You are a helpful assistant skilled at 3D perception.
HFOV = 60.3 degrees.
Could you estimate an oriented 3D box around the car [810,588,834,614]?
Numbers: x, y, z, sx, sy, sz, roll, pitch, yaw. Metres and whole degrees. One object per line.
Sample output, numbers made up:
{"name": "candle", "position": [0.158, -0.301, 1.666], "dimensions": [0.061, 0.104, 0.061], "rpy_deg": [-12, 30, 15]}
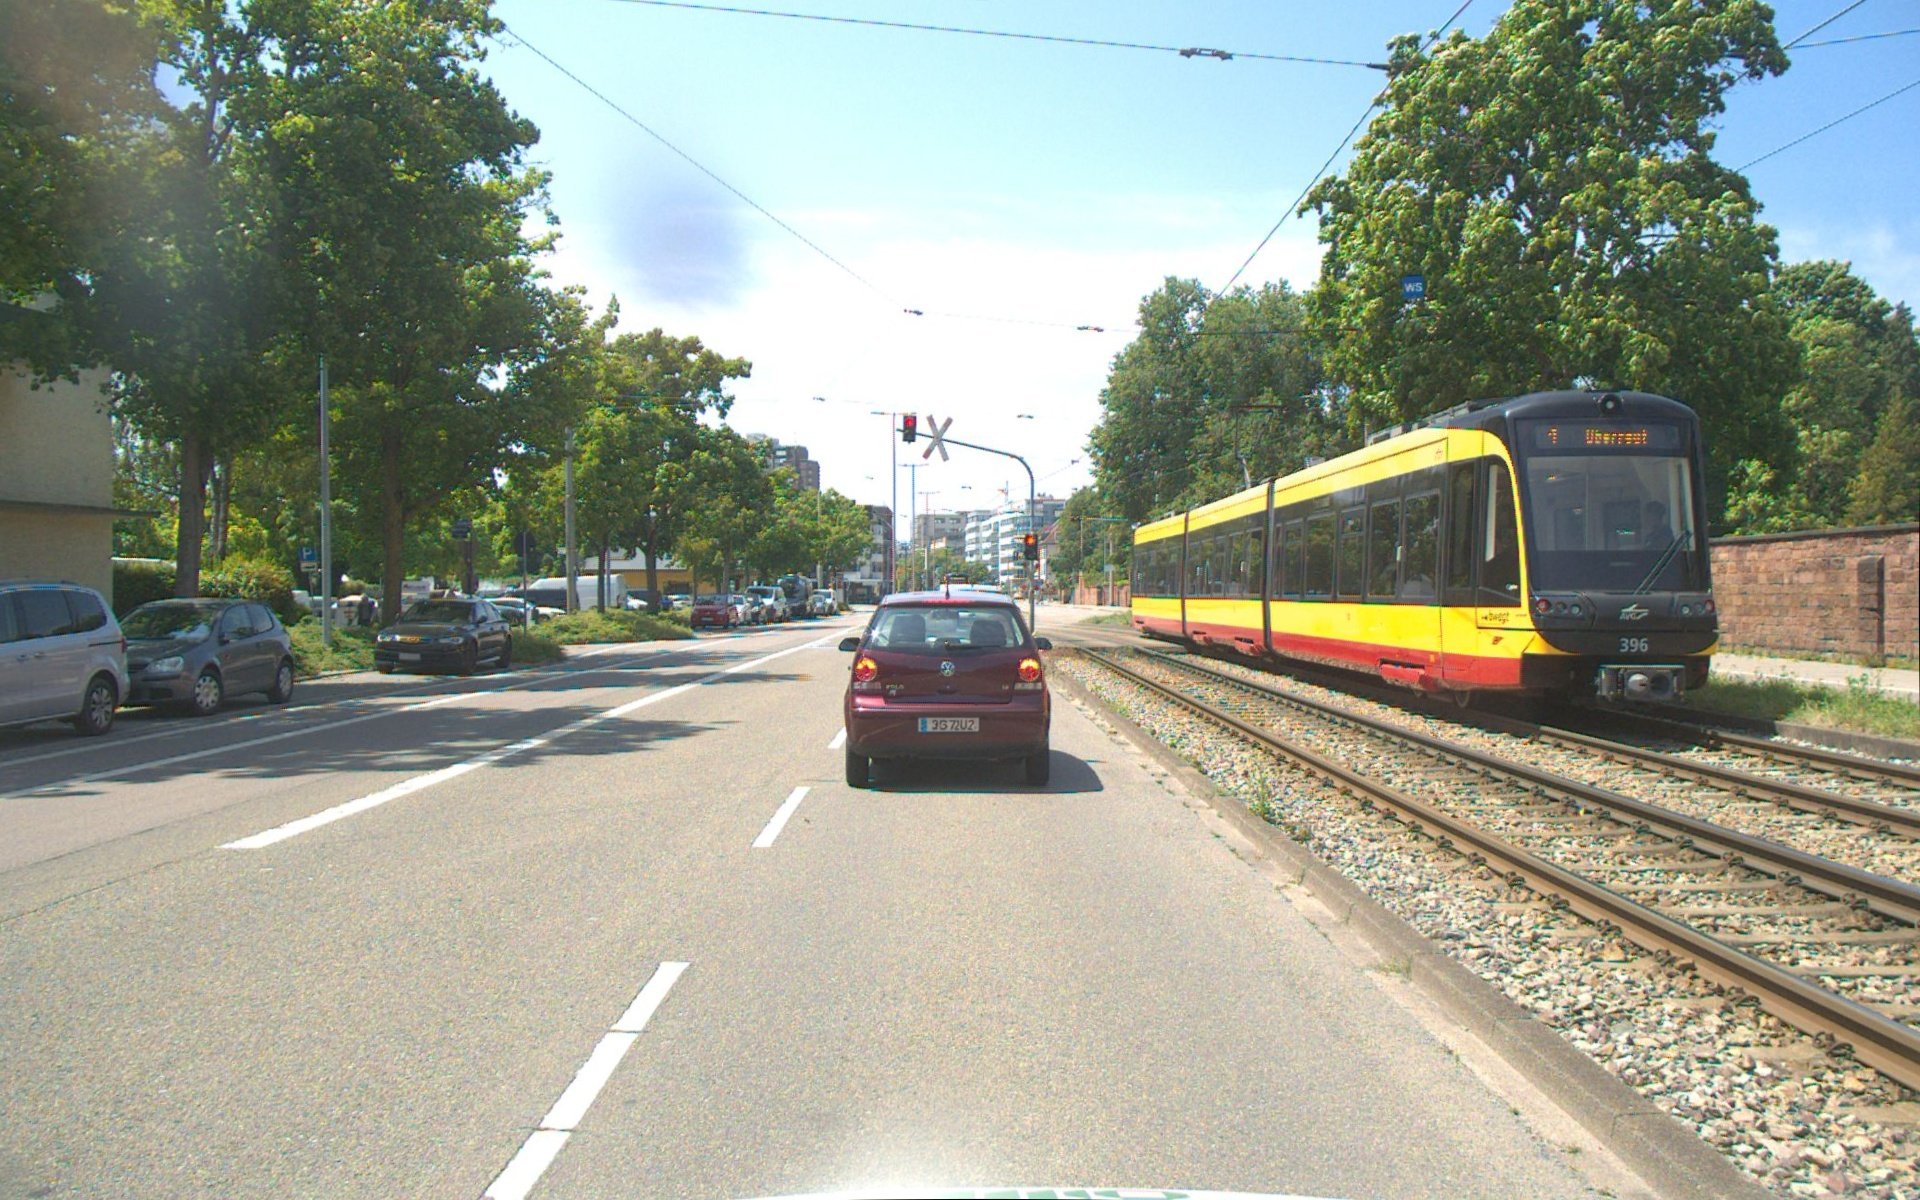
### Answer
{"name": "car", "position": [-10.434, 0.084, 124.832], "dimensions": [1.740, 1.860, 3.995], "rpy_deg": [2, -1, -6]}

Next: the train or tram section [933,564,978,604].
{"name": "train or tram section", "position": [-0.535, -1.547, 159.042], "dimensions": [2.689, 3.672, 12.849], "rpy_deg": [2, 0, -7]}

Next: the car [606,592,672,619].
{"name": "car", "position": [-21.100, 0.347, 108.937], "dimensions": [3.937, 1.645, 1.816], "rpy_deg": [2, -1, 0]}

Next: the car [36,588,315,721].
{"name": "car", "position": [-10.386, 0.655, 22.274], "dimensions": [1.781, 1.592, 4.180], "rpy_deg": [1, 0, -1]}

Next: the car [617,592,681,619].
{"name": "car", "position": [-21.071, 0.374, 112.018], "dimensions": [3.937, 1.645, 1.816], "rpy_deg": [2, -1, 0]}

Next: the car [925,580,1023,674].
{"name": "car", "position": [0.211, 0.481, 32.081], "dimensions": [1.741, 1.676, 3.999], "rpy_deg": [1, 0, -1]}

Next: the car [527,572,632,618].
{"name": "car", "position": [-20.284, -0.258, 88.348], "dimensions": [4.992, 2.284, 2.378], "rpy_deg": [2, -1, 0]}

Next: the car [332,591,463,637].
{"name": "car", "position": [-21.002, 0.508, 61.857], "dimensions": [4.256, 1.612, 1.912], "rpy_deg": [-1, 0, -3]}

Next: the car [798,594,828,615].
{"name": "car", "position": [-10.580, 0.349, 119.087], "dimensions": [1.581, 1.466, 4.001], "rpy_deg": [2, -1, 3]}

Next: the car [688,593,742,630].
{"name": "car", "position": [-10.576, 0.493, 71.717], "dimensions": [1.628, 1.523, 4.000], "rpy_deg": [2, -1, 1]}

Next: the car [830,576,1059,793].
{"name": "car", "position": [-0.155, 0.604, 14.023], "dimensions": [1.638, 1.548, 3.999], "rpy_deg": [1, 0, -1]}

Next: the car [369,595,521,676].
{"name": "car", "position": [-10.472, 0.680, 33.967], "dimensions": [1.781, 1.502, 4.448], "rpy_deg": [1, 0, -1]}

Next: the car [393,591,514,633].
{"name": "car", "position": [-20.495, 0.484, 66.959], "dimensions": [4.251, 1.612, 1.914], "rpy_deg": [-1, 0, 5]}

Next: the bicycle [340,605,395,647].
{"name": "bicycle", "position": [-15.563, 0.683, 43.483], "dimensions": [0.686, 1.047, 1.829], "rpy_deg": [1, -1, 3]}

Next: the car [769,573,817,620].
{"name": "car", "position": [-10.235, -0.187, 101.554], "dimensions": [2.313, 2.739, 5.307], "rpy_deg": [2, -1, 0]}

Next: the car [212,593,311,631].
{"name": "car", "position": [-32.862, 0.568, 77.926], "dimensions": [3.913, 1.682, 1.812], "rpy_deg": [2, -1, -9]}

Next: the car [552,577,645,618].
{"name": "car", "position": [-21.730, -0.156, 99.594], "dimensions": [4.992, 2.284, 2.378], "rpy_deg": [2, -1, 0]}

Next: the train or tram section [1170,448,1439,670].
{"name": "train or tram section", "position": [6.876, -0.768, 35.551], "dimensions": [2.966, 3.864, 13.089], "rpy_deg": [0, 0, 0]}

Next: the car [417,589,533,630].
{"name": "car", "position": [-20.411, 0.387, 69.674], "dimensions": [4.251, 1.612, 1.914], "rpy_deg": [-1, 0, 6]}

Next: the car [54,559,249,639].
{"name": "car", "position": [-33.154, -0.021, 67.963], "dimensions": [6.713, 3.017, 2.363], "rpy_deg": [2, -1, -2]}

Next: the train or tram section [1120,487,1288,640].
{"name": "train or tram section", "position": [6.834, -0.969, 48.532], "dimensions": [2.966, 3.864, 12.759], "rpy_deg": [0, 0, 0]}

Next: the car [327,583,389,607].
{"name": "car", "position": [-44.826, -0.395, 123.238], "dimensions": [3.937, 1.645, 1.816], "rpy_deg": [2, -1, 0]}

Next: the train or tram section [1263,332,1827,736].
{"name": "train or tram section", "position": [6.827, -0.684, 22.452], "dimensions": [2.966, 3.864, 13.089], "rpy_deg": [0, 0, 0]}

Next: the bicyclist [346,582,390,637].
{"name": "bicyclist", "position": [-15.535, 0.250, 43.430], "dimensions": [0.792, 1.398, 0.828], "rpy_deg": [1, -1, 2]}

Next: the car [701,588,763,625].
{"name": "car", "position": [-10.748, 0.334, 78.264], "dimensions": [1.934, 1.629, 4.560], "rpy_deg": [2, -1, 4]}

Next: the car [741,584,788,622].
{"name": "car", "position": [-10.424, 0.190, 88.507], "dimensions": [1.746, 1.914, 4.787], "rpy_deg": [2, -1, 2]}

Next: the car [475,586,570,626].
{"name": "car", "position": [-20.524, 0.275, 77.705], "dimensions": [3.906, 1.776, 1.998], "rpy_deg": [-1, 0, -2]}

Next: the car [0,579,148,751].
{"name": "car", "position": [-10.391, 0.635, 16.959], "dimensions": [1.834, 1.693, 4.780], "rpy_deg": [0, 1, -1]}
